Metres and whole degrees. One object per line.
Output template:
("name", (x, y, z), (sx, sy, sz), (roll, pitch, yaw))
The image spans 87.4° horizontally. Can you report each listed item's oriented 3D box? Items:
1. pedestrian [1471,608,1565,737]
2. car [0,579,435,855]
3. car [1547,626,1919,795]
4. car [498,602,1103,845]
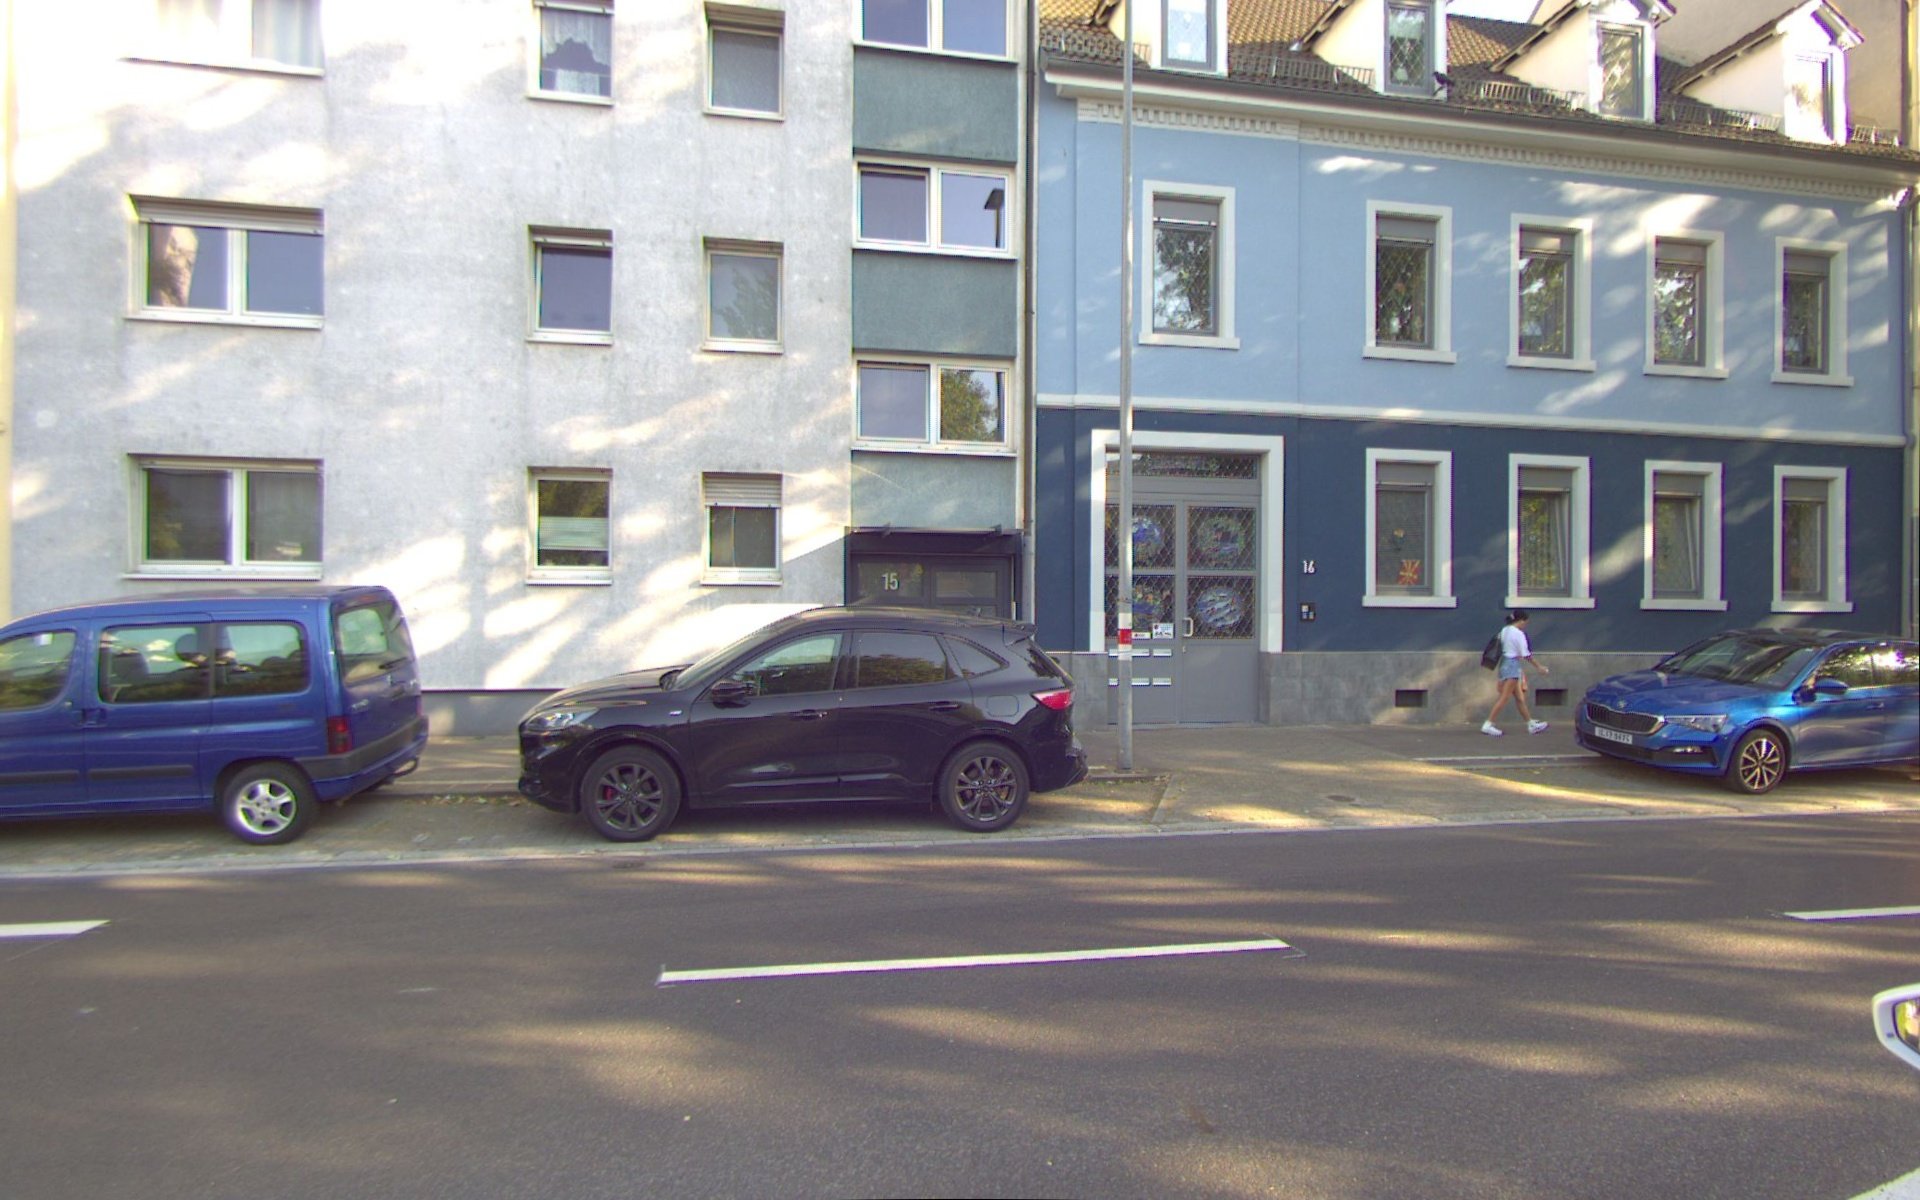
("pedestrian", (7.088, 0.901, 12.790), (0.848, 1.591, 0.706), (0, -1, 8))
("car", (-6.370, 0.778, 7.568), (3.932, 1.843, 1.667), (0, 1, -9))
("car", (8.635, 1.061, 10.617), (4.188, 1.507, 1.651), (0, 1, -13))
("car", (-1.211, 0.898, 8.371), (4.409, 1.695, 1.910), (0, 1, -7))
